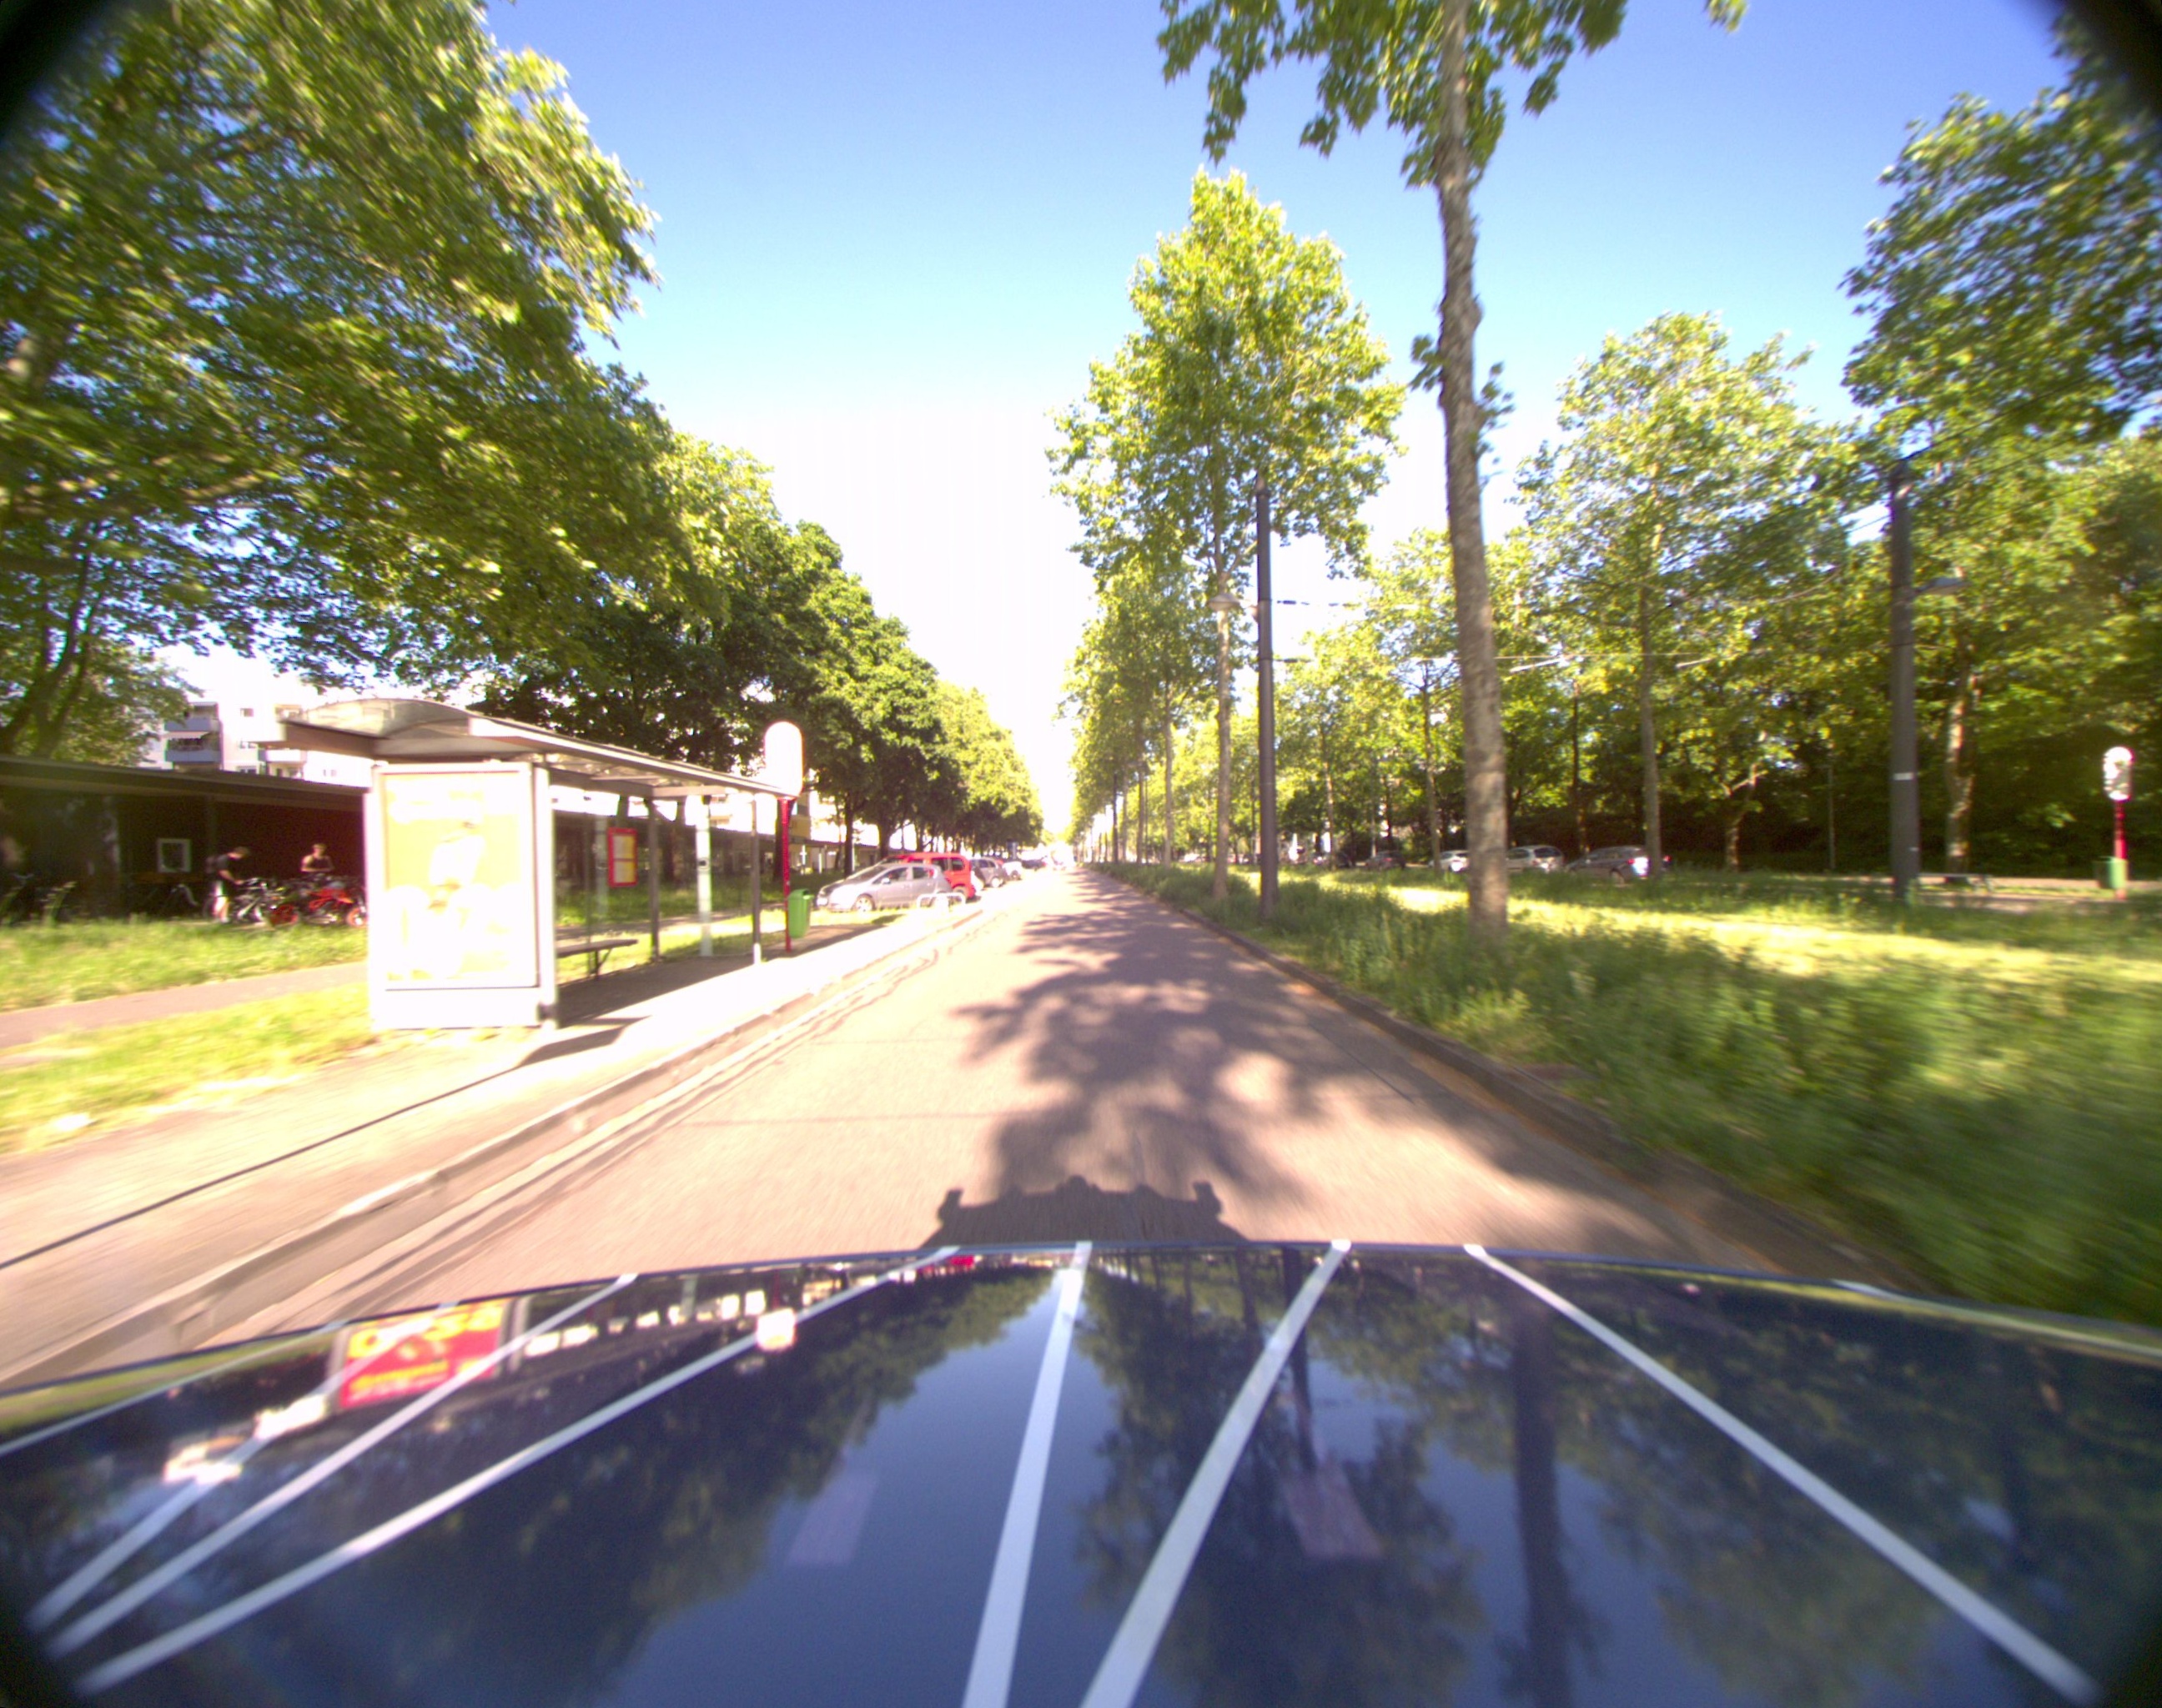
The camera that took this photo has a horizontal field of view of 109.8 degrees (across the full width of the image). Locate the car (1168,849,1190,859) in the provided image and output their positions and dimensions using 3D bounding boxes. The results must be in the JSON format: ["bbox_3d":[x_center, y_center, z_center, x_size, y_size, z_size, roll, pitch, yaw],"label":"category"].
[{"bbox_3d":[19.339,0.035,150.215,4.006,1.699,1.837,-3,1,-31],"label":"car"}]

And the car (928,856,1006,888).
[{"bbox_3d":[-5.847,0.894,39.347,1.695,1.581,3.731,1,0,43],"label":"car"}]

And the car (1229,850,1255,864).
[{"bbox_3d":[22.799,0.442,107.704,1.895,1.699,4.508,-2,1,36],"label":"car"}]

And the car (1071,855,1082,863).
[{"bbox_3d":[-0.815,0.969,148.779,1.897,1.623,4.502,-2,0,3],"label":"car"}]

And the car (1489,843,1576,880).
[{"bbox_3d":[22.531,0.329,38.132,1.820,1.587,4.189,-5,1,0],"label":"car"}]

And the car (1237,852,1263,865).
[{"bbox_3d":[22.119,0.586,99.296,1.884,1.558,4.007,-2,1,36],"label":"car"}]

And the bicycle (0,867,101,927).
[{"bbox_3d":[-23.469,0.947,17.025,0.577,1.246,1.806,-3,1,0],"label":"bicycle"}]

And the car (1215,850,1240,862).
[{"bbox_3d":[22.416,0.279,115.897,1.895,1.699,4.508,-2,1,36],"label":"car"}]

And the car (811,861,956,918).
[{"bbox_3d":[-5.701,0.964,22.215,3.837,1.464,1.514,0,1,-43],"label":"car"}]

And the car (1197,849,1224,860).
[{"bbox_3d":[22.392,0.146,131.270,4.506,1.699,1.895,-3,1,-31],"label":"car"}]

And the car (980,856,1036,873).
[{"bbox_3d":[-6.322,0.854,66.325,1.994,1.417,4.686,1,0,43],"label":"car"}]

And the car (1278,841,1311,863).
[{"bbox_3d":[21.929,-0.247,78.224,1.987,2.045,4.277,-5,1,-1],"label":"car"}]

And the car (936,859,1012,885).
[{"bbox_3d":[-6.004,0.966,43.029,1.681,1.395,4.096,1,0,43],"label":"car"}]

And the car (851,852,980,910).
[{"bbox_3d":[-5.582,0.846,25.932,3.959,1.832,1.763,0,1,-44],"label":"car"}]

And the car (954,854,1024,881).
[{"bbox_3d":[-6.110,0.866,50.511,4.311,1.666,1.862,-1,0,-43],"label":"car"}]

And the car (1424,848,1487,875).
[{"bbox_3d":[22.329,0.401,45.476,1.723,1.411,4.023,-5,0,0],"label":"car"}]

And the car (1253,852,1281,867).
[{"bbox_3d":[22.713,0.647,92.682,1.884,1.558,4.007,-2,1,36],"label":"car"}]

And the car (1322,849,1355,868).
[{"bbox_3d":[22.296,0.358,65.944,1.545,1.480,3.569,-5,0,0],"label":"car"}]

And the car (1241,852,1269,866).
[{"bbox_3d":[21.874,0.649,95.419,1.884,1.558,4.007,-2,1,36],"label":"car"}]

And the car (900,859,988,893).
[{"bbox_3d":[-6.375,0.997,35.551,1.677,1.450,3.753,1,1,44],"label":"car"}]

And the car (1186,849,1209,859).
[{"bbox_3d":[21.641,0.046,141.330,4.006,1.699,1.837,-3,1,-31],"label":"car"}]

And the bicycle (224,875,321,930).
[{"bbox_3d":[-18.012,1.070,16.927,2.069,1.151,0.562,0,1,15],"label":"bicycle"}]

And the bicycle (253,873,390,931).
[{"bbox_3d":[-15.884,0.984,15.940,2.073,1.151,0.561,0,1,-9],"label":"bicycle"}]

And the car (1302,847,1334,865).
[{"bbox_3d":[22.178,0.123,71.282,1.754,1.487,3.816,-5,1,0],"label":"car"}]

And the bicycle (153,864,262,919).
[{"bbox_3d":[-21.893,0.922,19.099,0.577,1.246,1.806,-3,1,0],"label":"bicycle"}]

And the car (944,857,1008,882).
[{"bbox_3d":[-6.409,0.918,46.615,3.583,1.412,1.706,0,1,-43],"label":"car"}]

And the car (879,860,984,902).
[{"bbox_3d":[-5.702,0.991,29.169,3.635,1.486,1.677,0,1,-43],"label":"car"}]

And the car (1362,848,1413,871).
[{"bbox_3d":[22.403,0.380,55.661,1.843,1.480,4.178,-5,0,-2],"label":"car"}]

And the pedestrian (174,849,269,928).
[{"bbox_3d":[-18.947,0.737,16.777,1.131,1.698,0.732,-1,1,-8],"label":"pedestrian"}]

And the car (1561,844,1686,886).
[{"bbox_3d":[22.531,0.390,31.827,1.902,1.480,4.626,-5,1,0],"label":"car"}]

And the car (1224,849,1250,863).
[{"bbox_3d":[23.083,0.280,112.220,1.895,1.699,4.508,-2,1,36],"label":"car"}]

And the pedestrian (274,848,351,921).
[{"bbox_3d":[-19.922,0.776,19.718,0.967,1.830,0.952,-1,1,-8],"label":"pedestrian"}]

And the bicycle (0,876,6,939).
[{"bbox_3d":[-21.691,1.093,14.189,0.577,1.246,1.806,-3,1,0],"label":"bicycle"}]
